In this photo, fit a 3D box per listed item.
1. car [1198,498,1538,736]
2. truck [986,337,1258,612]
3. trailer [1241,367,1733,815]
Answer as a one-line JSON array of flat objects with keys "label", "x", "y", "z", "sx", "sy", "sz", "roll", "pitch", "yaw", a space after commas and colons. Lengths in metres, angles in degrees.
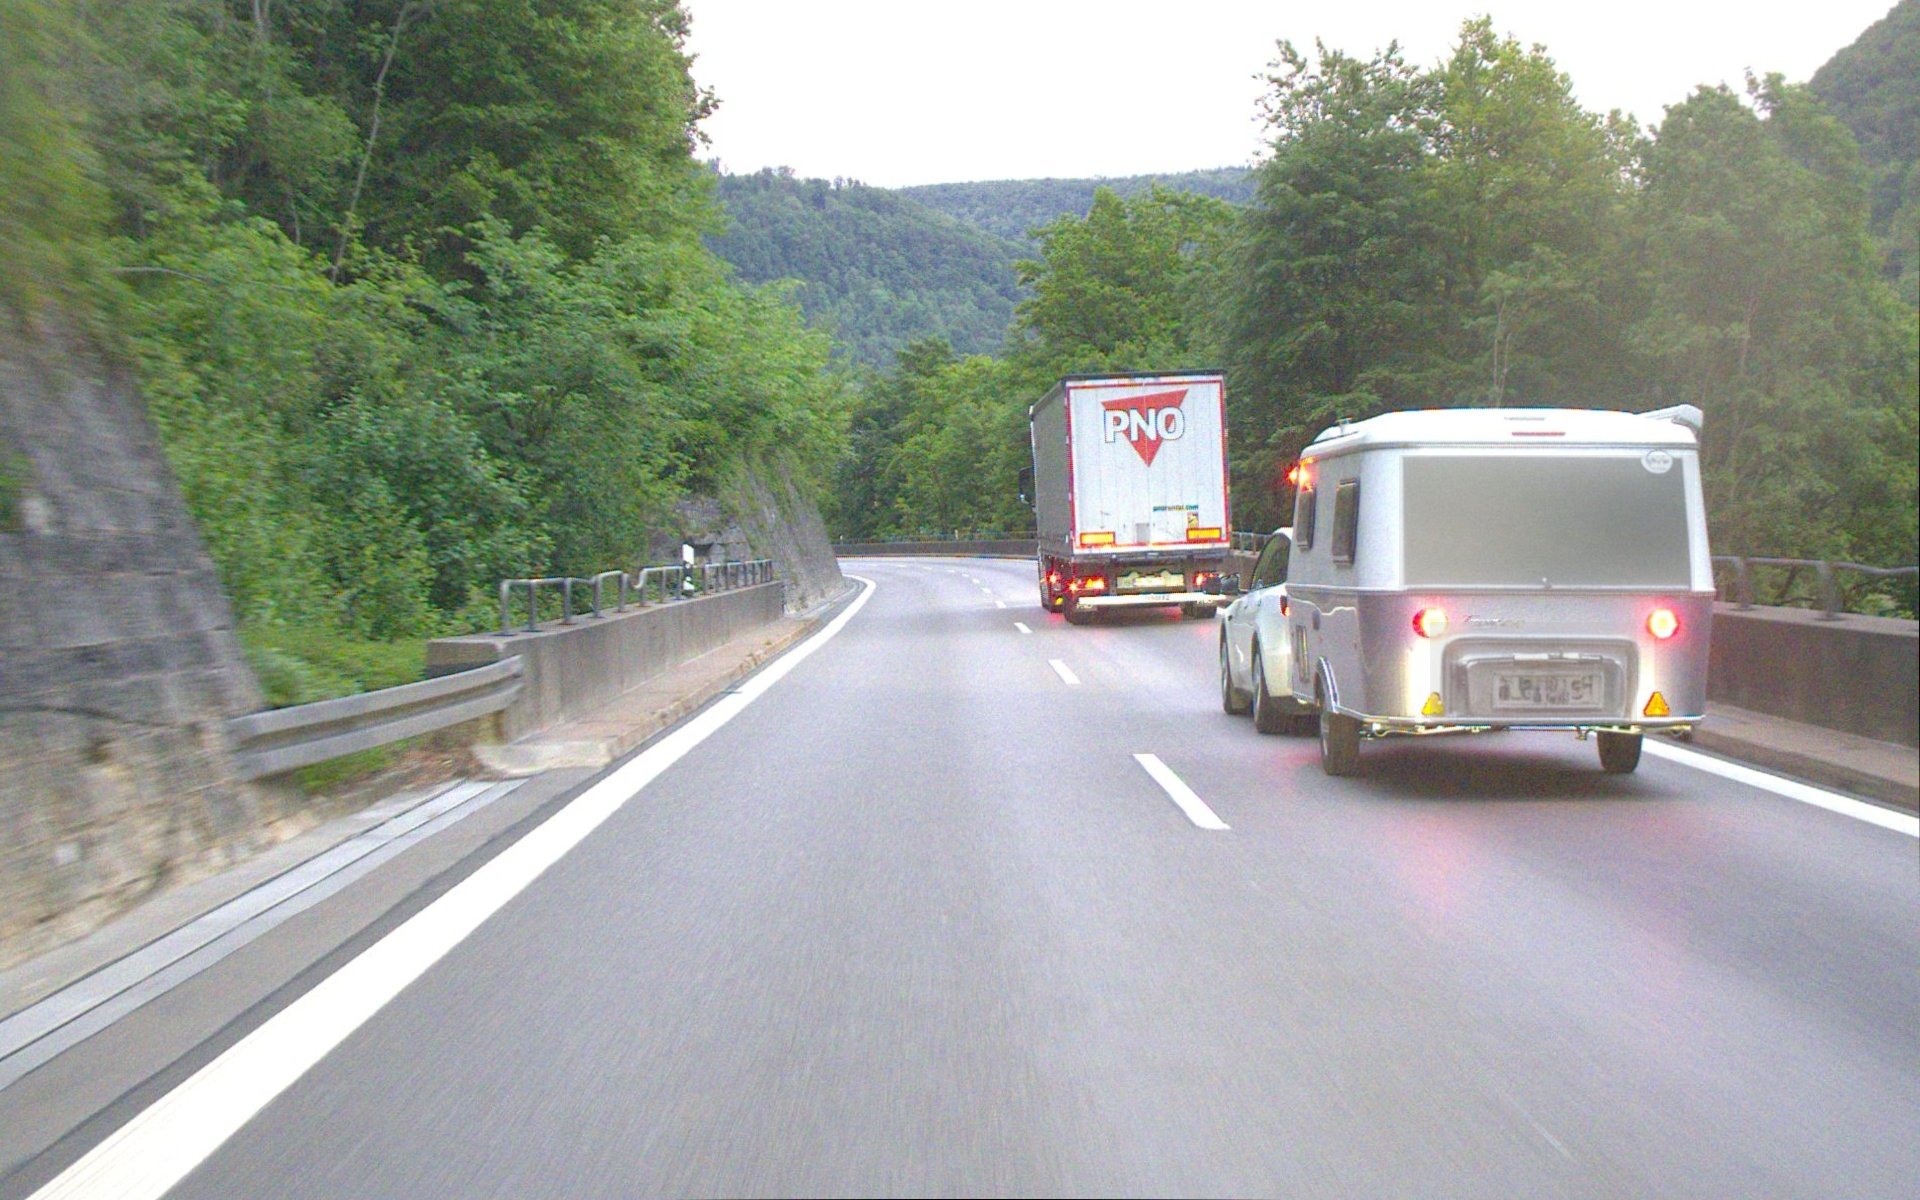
[{"label": "car", "x": 3.148, "y": 0.085, "z": 27.504, "sx": 1.993, "sy": 1.609, "sz": 4.865, "roll": -4, "pitch": 1, "yaw": -1}, {"label": "truck", "x": 2.585, "y": -2.065, "z": 61.707, "sx": 3.294, "sy": 4.158, "sz": 16.505, "roll": -2, "pitch": 1, "yaw": -2}, {"label": "trailer", "x": 3.190, "y": -0.114, "z": 22.189, "sx": 2.054, "sy": 2.366, "sz": 5.938, "roll": -4, "pitch": 1, "yaw": 0}]
